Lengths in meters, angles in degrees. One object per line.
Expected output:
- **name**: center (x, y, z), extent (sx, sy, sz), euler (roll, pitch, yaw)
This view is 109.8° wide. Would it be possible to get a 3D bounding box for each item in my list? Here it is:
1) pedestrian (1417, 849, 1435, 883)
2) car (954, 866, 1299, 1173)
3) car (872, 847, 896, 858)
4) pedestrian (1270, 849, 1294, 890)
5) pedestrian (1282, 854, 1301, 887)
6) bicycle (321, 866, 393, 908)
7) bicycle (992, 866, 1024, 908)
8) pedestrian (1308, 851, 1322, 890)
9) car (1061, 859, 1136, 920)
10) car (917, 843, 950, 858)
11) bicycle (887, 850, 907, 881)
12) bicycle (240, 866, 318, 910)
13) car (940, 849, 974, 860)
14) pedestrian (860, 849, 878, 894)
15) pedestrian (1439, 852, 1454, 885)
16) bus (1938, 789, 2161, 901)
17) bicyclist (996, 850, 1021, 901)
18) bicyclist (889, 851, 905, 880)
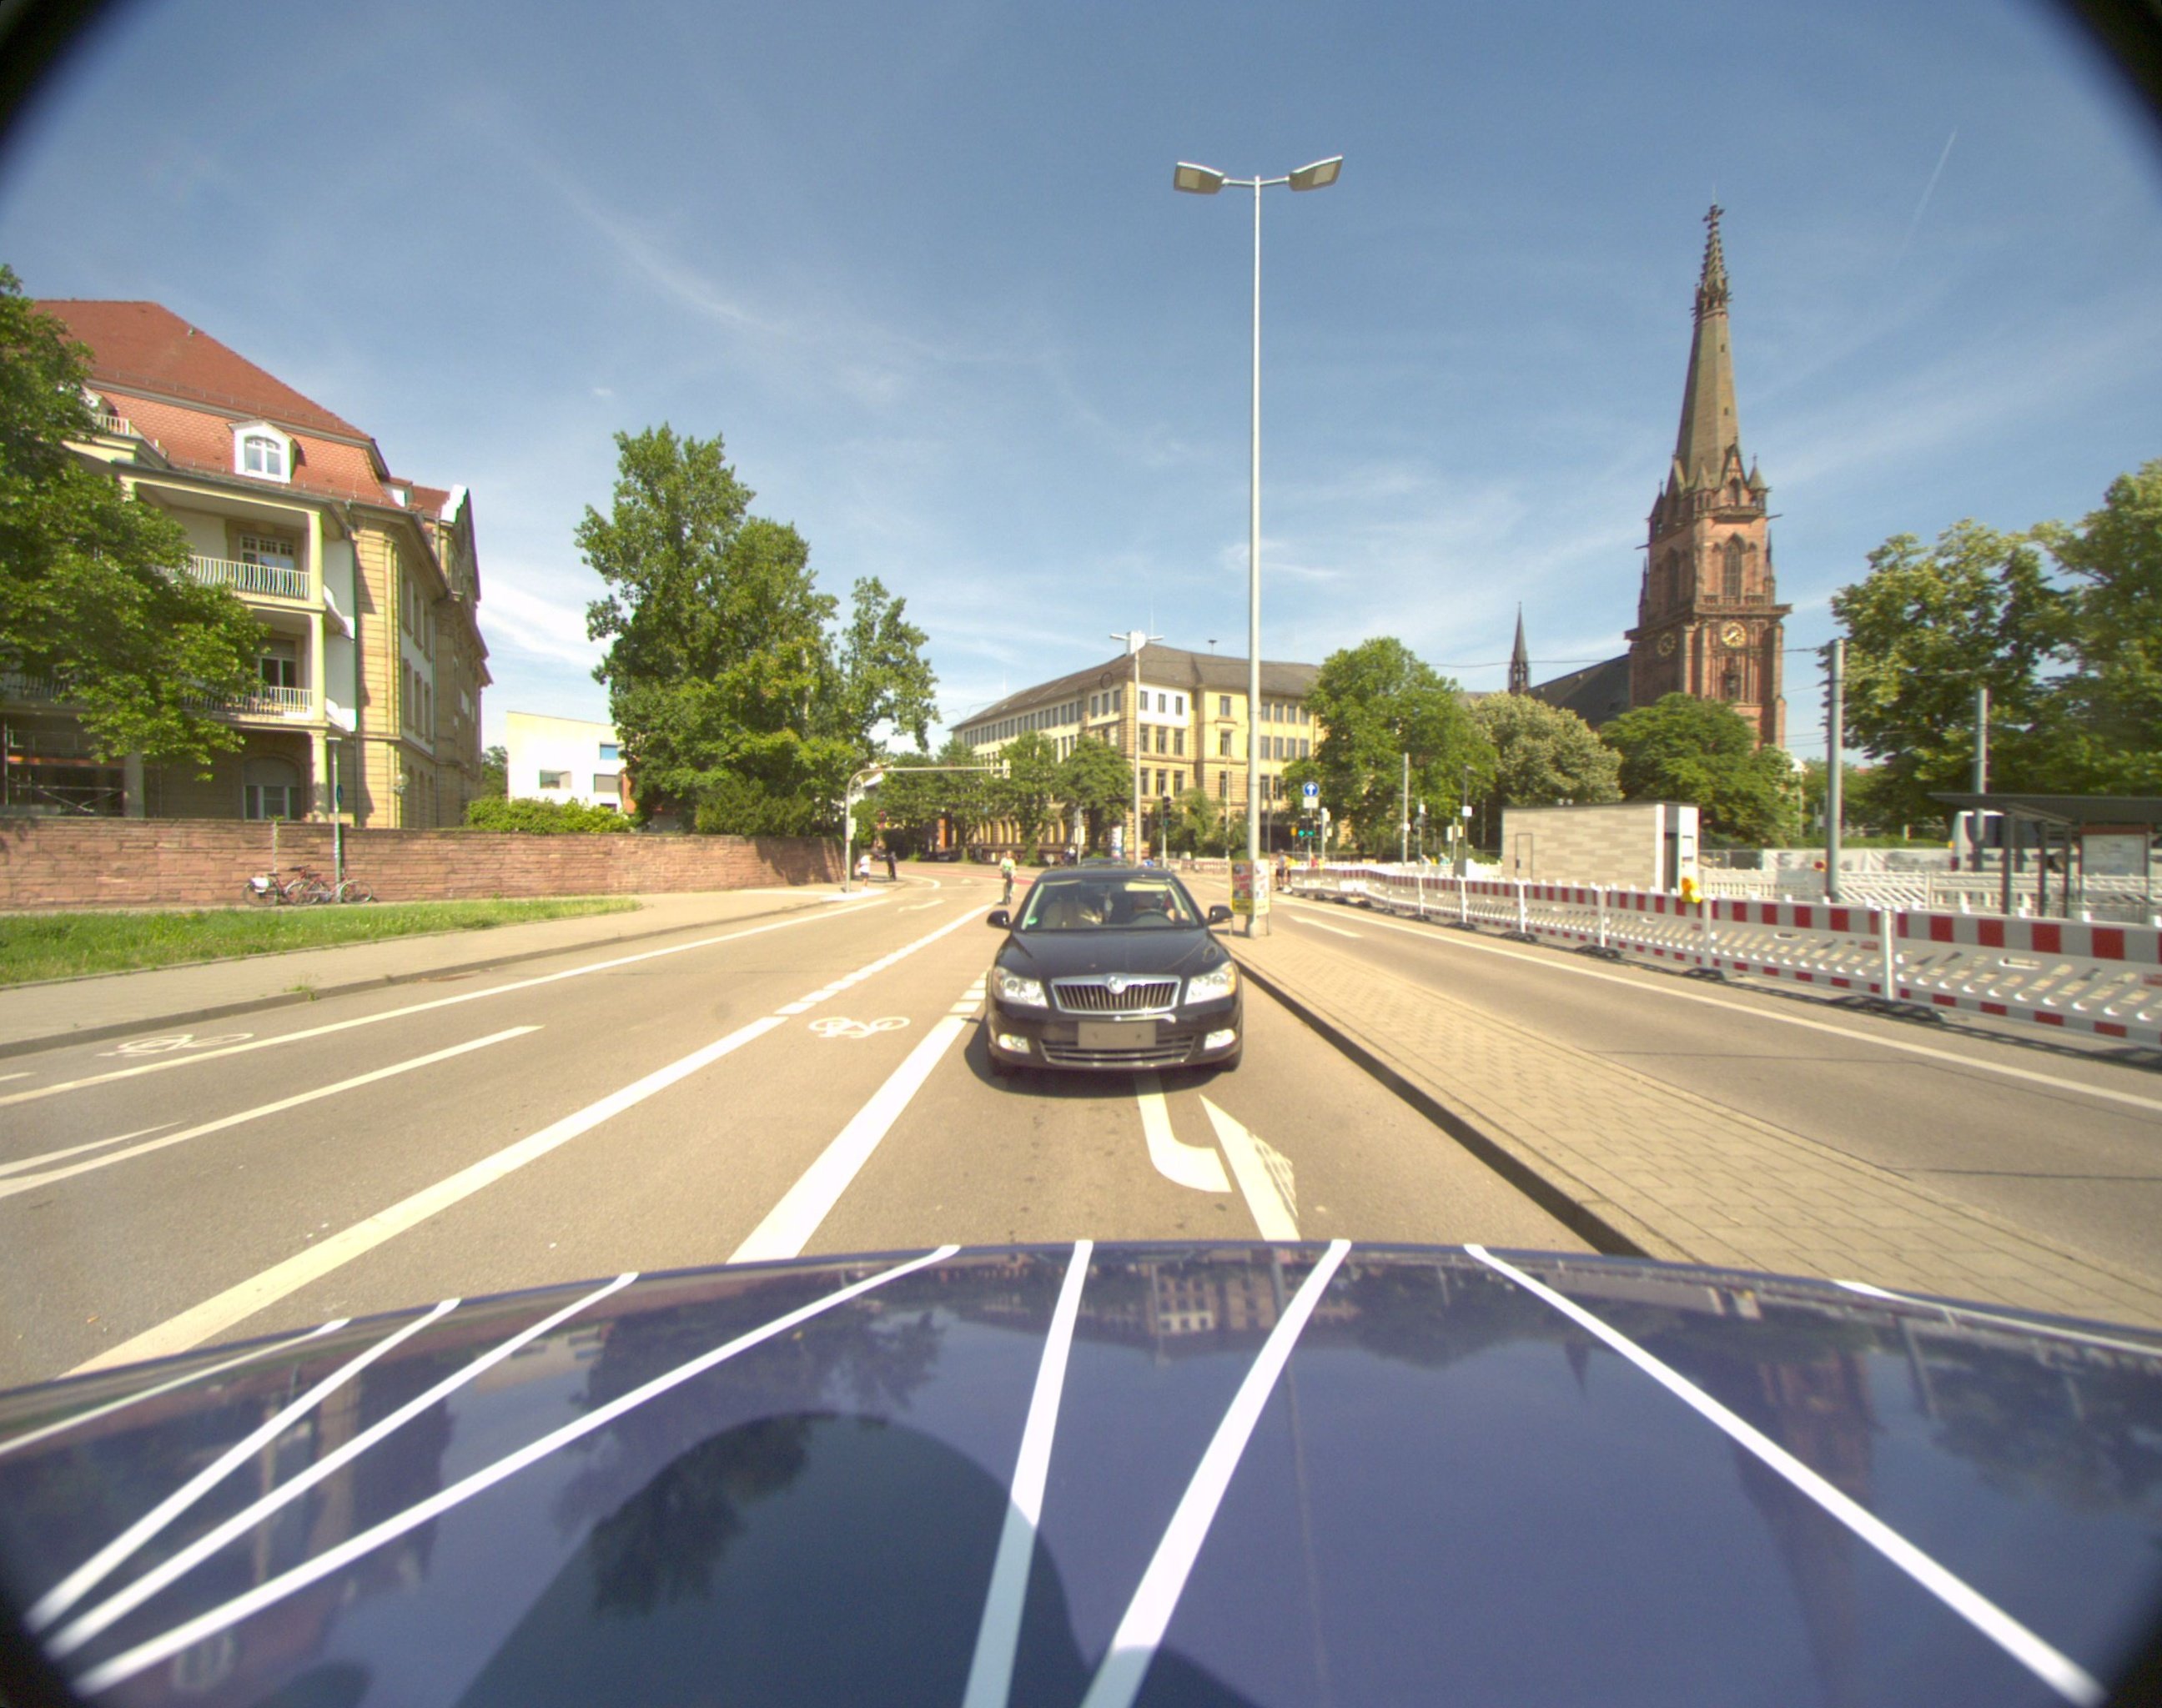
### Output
- **pedestrian**: center (16.614, 0.584, 36.580), extent (0.660, 1.606, 0.795), euler (0, 1, 34)
- **car**: center (0.248, 0.941, 6.539), extent (1.864, 1.510, 4.826), euler (0, 1, 0)
- **car**: center (-26.154, -0.190, 100.763), extent (1.675, 1.442, 3.806), euler (1, 1, -38)
- **pedestrian**: center (8.877, 0.666, 33.556), extent (0.839, 1.802, 0.651), euler (0, 1, 39)
- **pedestrian**: center (10.004, 0.774, 36.081), extent (0.424, 1.534, 0.666), euler (-4, 1, -32)
- **bicycle**: center (-20.503, 0.916, 21.547), extent (0.348, 1.116, 1.438), euler (1, 1, 35)
- **bicycle**: center (-2.290, 1.006, 24.035), extent (0.685, 1.215, 2.186), euler (0, 1, 2)
- **pedestrian**: center (9.819, 0.692, 31.883), extent (0.350, 1.606, 0.686), euler (0, 1, 2)
- **car**: center (0.405, 0.892, 20.789), extent (1.802, 1.368, 4.275), euler (-1, 1, -1)
- **car**: center (-20.443, -0.498, 105.372), extent (4.008, 2.002, 1.994), euler (0, 1, -35)
- **bicycle**: center (-10.705, 0.656, 44.312), extent (0.680, 1.755, 1.811), euler (1, 1, 1)
- **bicycle**: center (-21.436, 0.888, 20.335), extent (0.348, 1.116, 1.437), euler (1, 1, 15)
- **car**: center (-16.612, 0.033, 101.506), extent (4.008, 1.455, 1.994), euler (0, 1, -35)
- **pedestrian**: center (-8.957, 0.749, 32.118), extent (0.654, 1.863, 0.795), euler (2, 1, -18)
- **pedestrian**: center (17.804, 0.691, 37.002), extent (0.584, 1.606, 0.691), euler (0, 1, 34)
- **bus**: center (35.581, -0.257, 22.885), extent (2.867, 3.469, 12.624), euler (0, 1, -34)
- **bicyclist**: center (-2.281, 0.659, 23.990), extent (0.588, 1.539, 0.931), euler (-2, 2, 2)
- **bicyclist**: center (-10.708, 0.672, 44.282), extent (0.680, 1.646, 0.919), euler (1, 1, 1)
